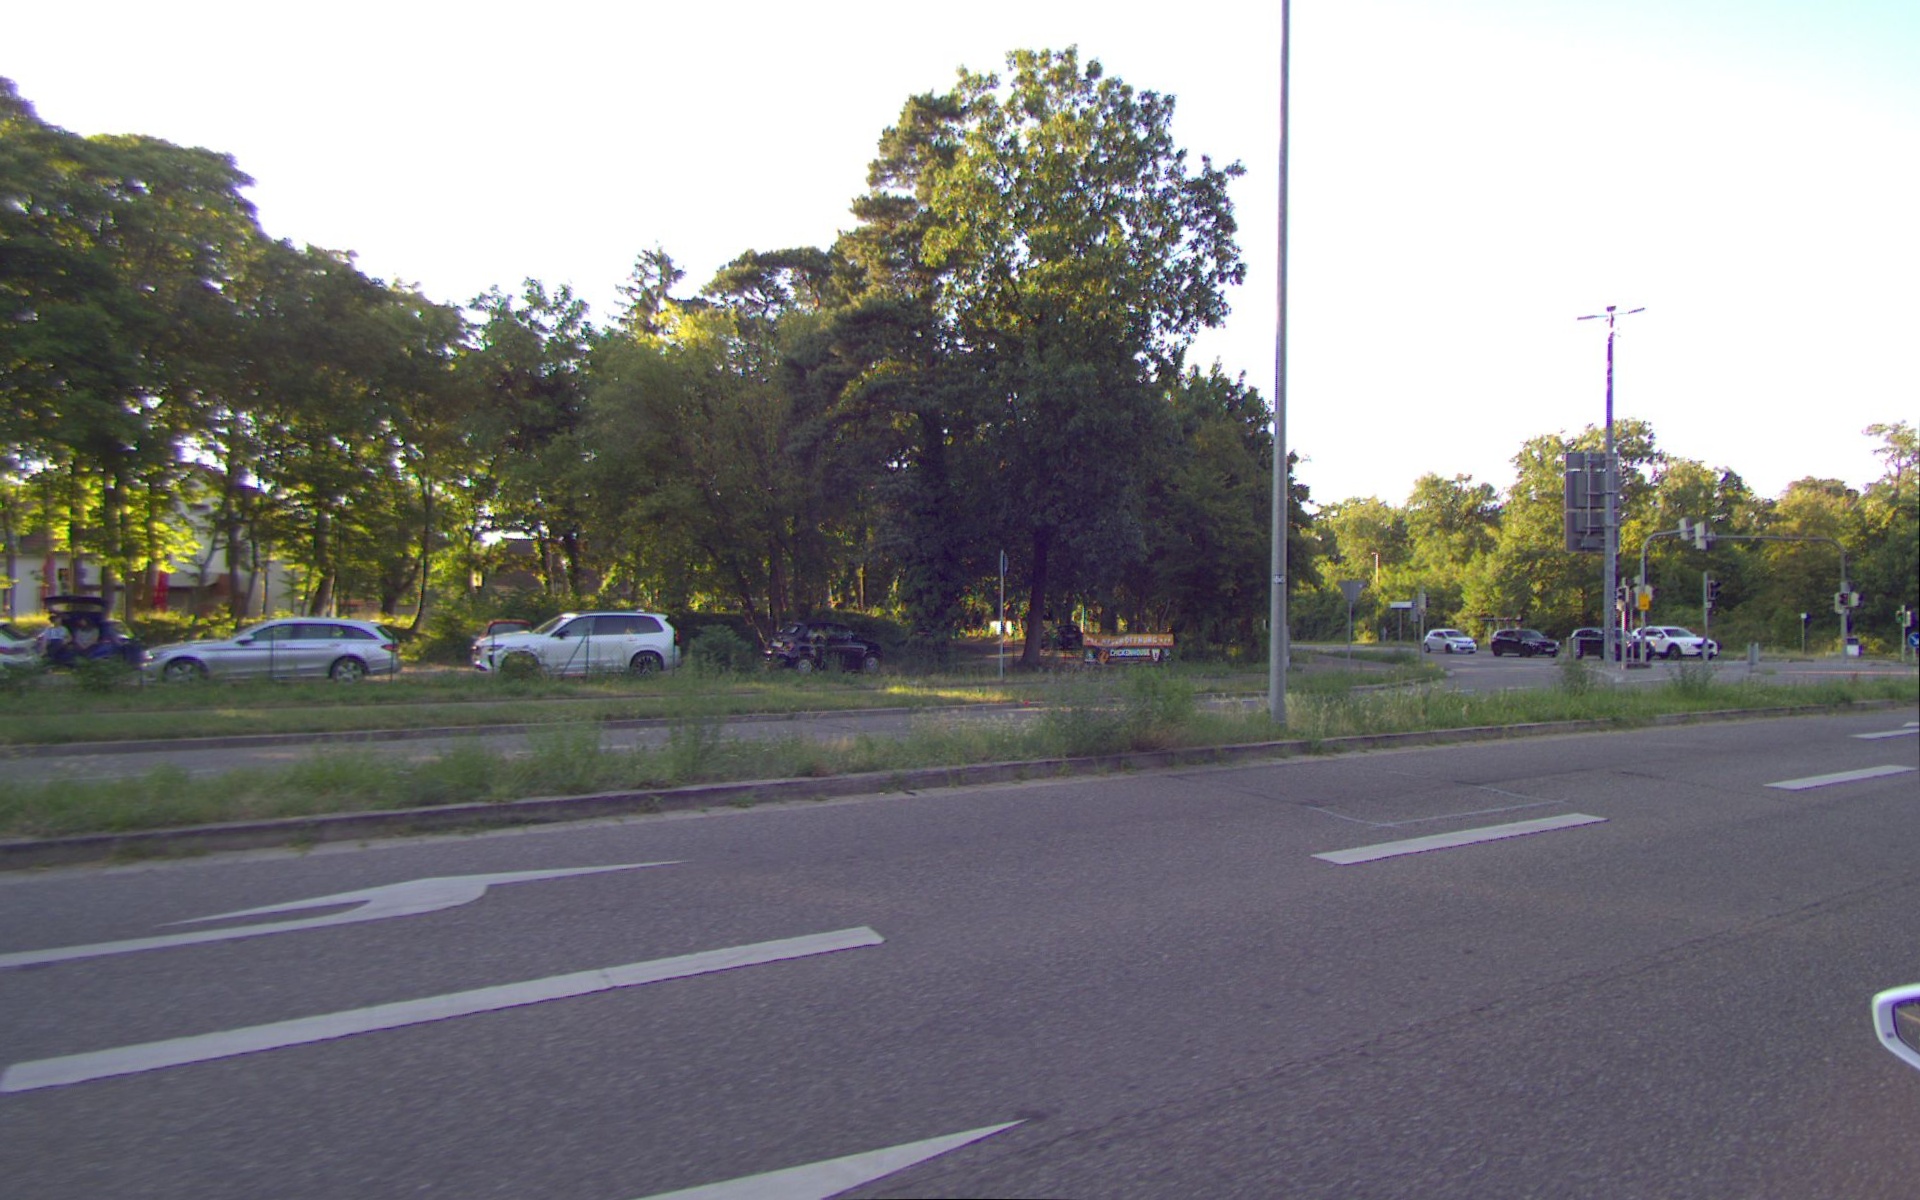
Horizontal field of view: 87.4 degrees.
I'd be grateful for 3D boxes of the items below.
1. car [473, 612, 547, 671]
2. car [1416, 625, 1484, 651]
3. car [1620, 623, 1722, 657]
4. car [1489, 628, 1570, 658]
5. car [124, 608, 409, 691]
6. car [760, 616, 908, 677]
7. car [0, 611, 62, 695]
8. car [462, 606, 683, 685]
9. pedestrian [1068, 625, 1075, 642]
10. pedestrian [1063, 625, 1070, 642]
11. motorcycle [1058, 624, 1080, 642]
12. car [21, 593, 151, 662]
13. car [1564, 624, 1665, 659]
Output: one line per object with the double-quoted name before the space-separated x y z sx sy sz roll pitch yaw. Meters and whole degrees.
"car" -13.835 1.229 30.777 1.894 1.673 3.973 1 -2 -26
"car" 32.000 2.461 65.681 1.963 1.661 4.252 0 -1 -8
"car" 36.305 2.017 51.415 1.962 1.661 4.254 0 -1 -6
"car" 32.525 2.437 57.501 1.962 1.661 4.254 0 -1 -6
"car" -14.823 1.028 21.815 4.869 1.628 1.982 1 -2 -33
"car" -3.567 1.286 28.573 3.775 1.618 1.843 1 -2 -34
"car" -19.920 0.975 18.550 4.660 1.568 1.982 1 -2 -33
"car" -9.629 1.105 25.107 4.869 1.810 1.982 1 -2 -33
"pedestrian" 6.291 1.898 56.795 0.316 0.937 0.375 0 -1 -10
"pedestrian" 6.008 1.895 56.741 0.316 0.931 0.375 0 -1 -10
"motorcycle" 6.145 1.867 56.761 1.156 1.031 0.383 0 -1 -10
"car" -22.999 0.718 26.584 1.745 1.672 3.970 1 -2 -29
"car" 32.572 2.019 50.145 1.962 1.661 4.254 0 -1 -6
